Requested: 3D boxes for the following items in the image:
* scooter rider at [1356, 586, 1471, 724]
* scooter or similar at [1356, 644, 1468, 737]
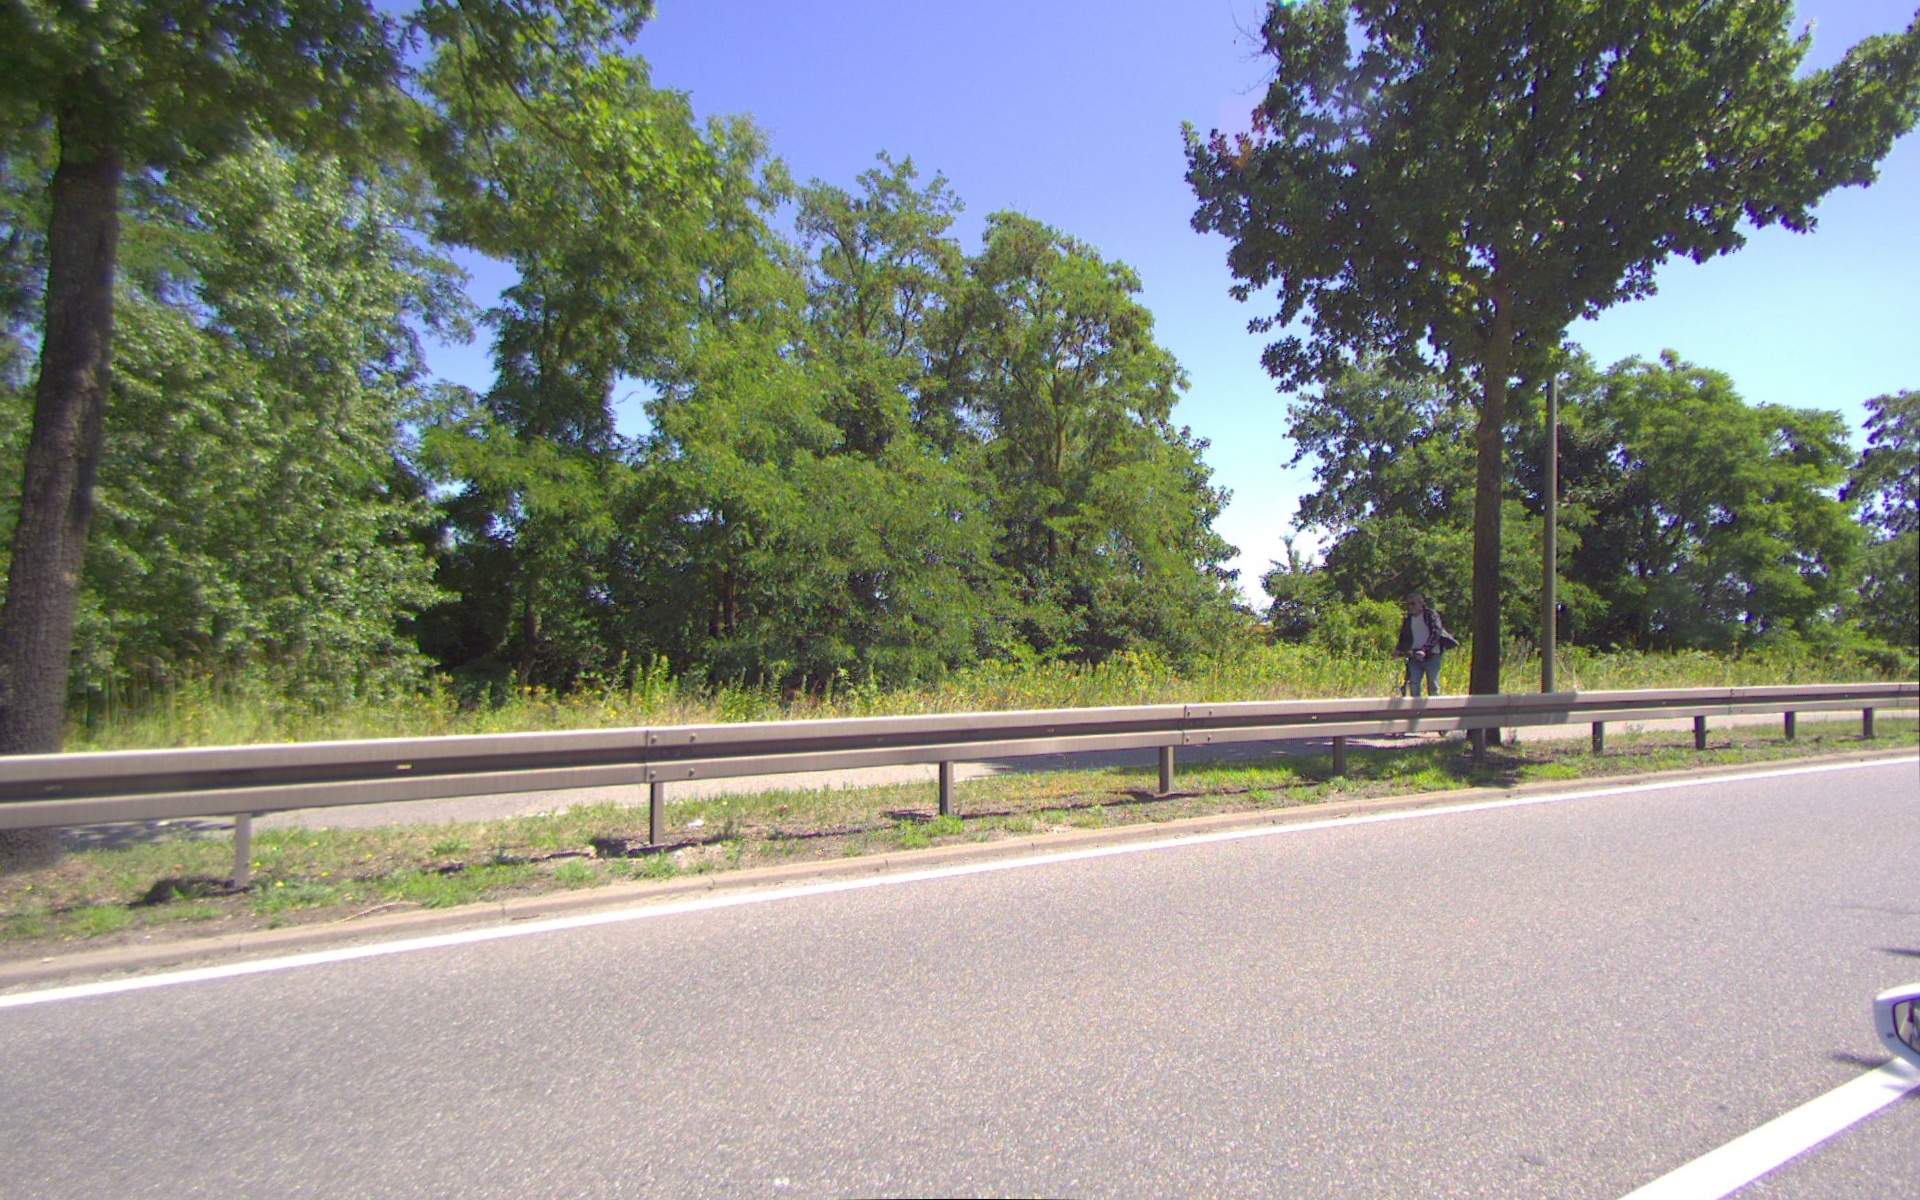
[{"bbox_3d":[5.791,0.686,12.848,1.105,1.679,0.775,2,0,-24],"label":"scooter rider"},{"bbox_3d":[5.773,1.133,12.842,1.080,1.105,0.775,2,0,-25],"label":"scooter or similar"}]
